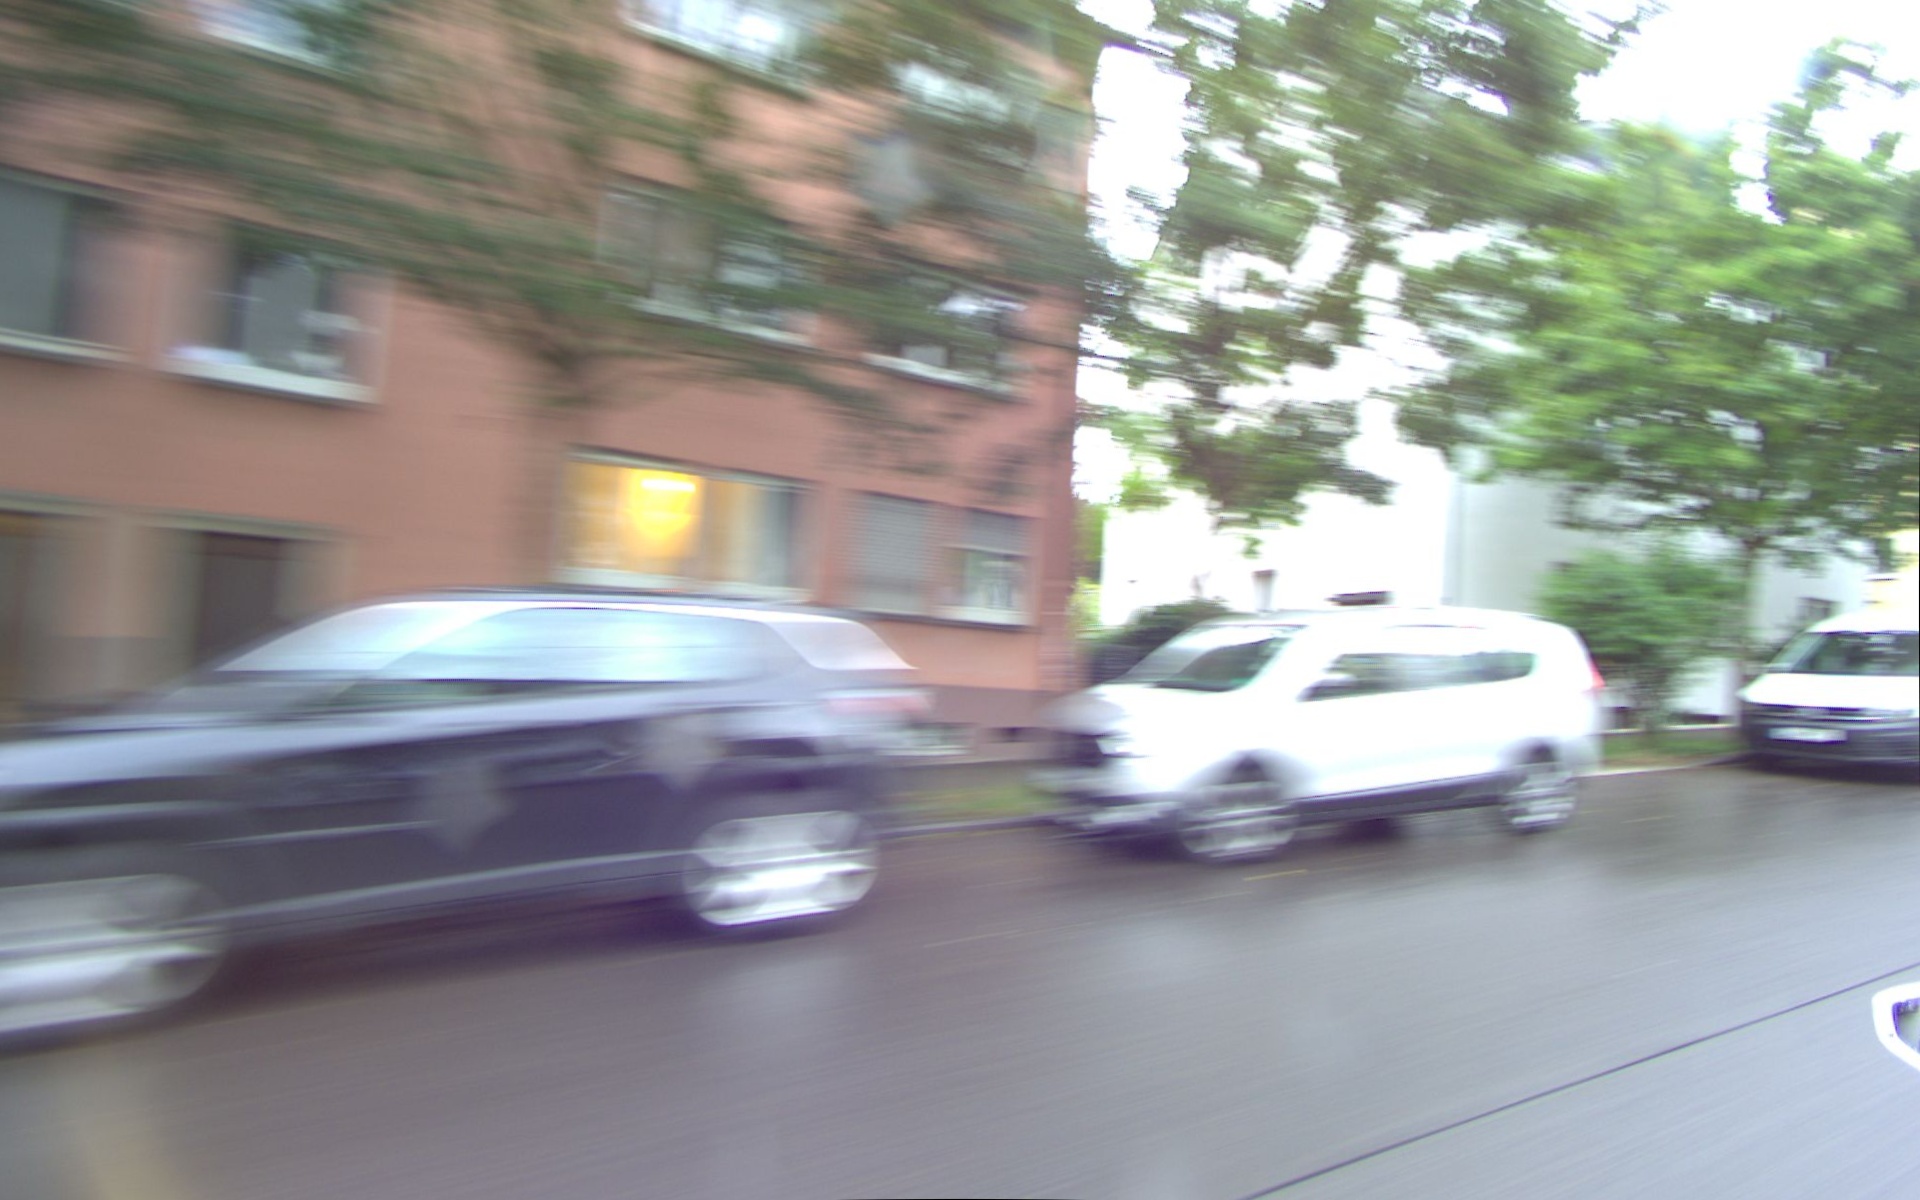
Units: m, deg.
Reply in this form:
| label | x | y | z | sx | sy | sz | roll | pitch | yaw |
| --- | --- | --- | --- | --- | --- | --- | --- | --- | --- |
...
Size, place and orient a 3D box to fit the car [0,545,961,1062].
| label | x | y | z | sx | sy | sz | roll | pitch | yaw |
| --- | --- | --- | --- | --- | --- | --- | --- | --- | --- |
| car | -2.344 | 0.711 | 4.723 | 4.428 | 1.663 | 1.778 | 2 | -2 | -31 |

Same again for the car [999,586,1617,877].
| label | x | y | z | sx | sy | sz | roll | pitch | yaw |
| --- | --- | --- | --- | --- | --- | --- | --- | --- | --- |
| car | 2.710 | 0.849 | 7.677 | 4.537 | 1.712 | 1.742 | 1 | -2 | -25 |

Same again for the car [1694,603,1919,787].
| label | x | y | z | sx | sy | sz | roll | pitch | yaw |
| --- | --- | --- | --- | --- | --- | --- | --- | --- | --- |
| car | 10.802 | 1.001 | 11.566 | 4.420 | 1.800 | 1.849 | 1 | -2 | -24 |
